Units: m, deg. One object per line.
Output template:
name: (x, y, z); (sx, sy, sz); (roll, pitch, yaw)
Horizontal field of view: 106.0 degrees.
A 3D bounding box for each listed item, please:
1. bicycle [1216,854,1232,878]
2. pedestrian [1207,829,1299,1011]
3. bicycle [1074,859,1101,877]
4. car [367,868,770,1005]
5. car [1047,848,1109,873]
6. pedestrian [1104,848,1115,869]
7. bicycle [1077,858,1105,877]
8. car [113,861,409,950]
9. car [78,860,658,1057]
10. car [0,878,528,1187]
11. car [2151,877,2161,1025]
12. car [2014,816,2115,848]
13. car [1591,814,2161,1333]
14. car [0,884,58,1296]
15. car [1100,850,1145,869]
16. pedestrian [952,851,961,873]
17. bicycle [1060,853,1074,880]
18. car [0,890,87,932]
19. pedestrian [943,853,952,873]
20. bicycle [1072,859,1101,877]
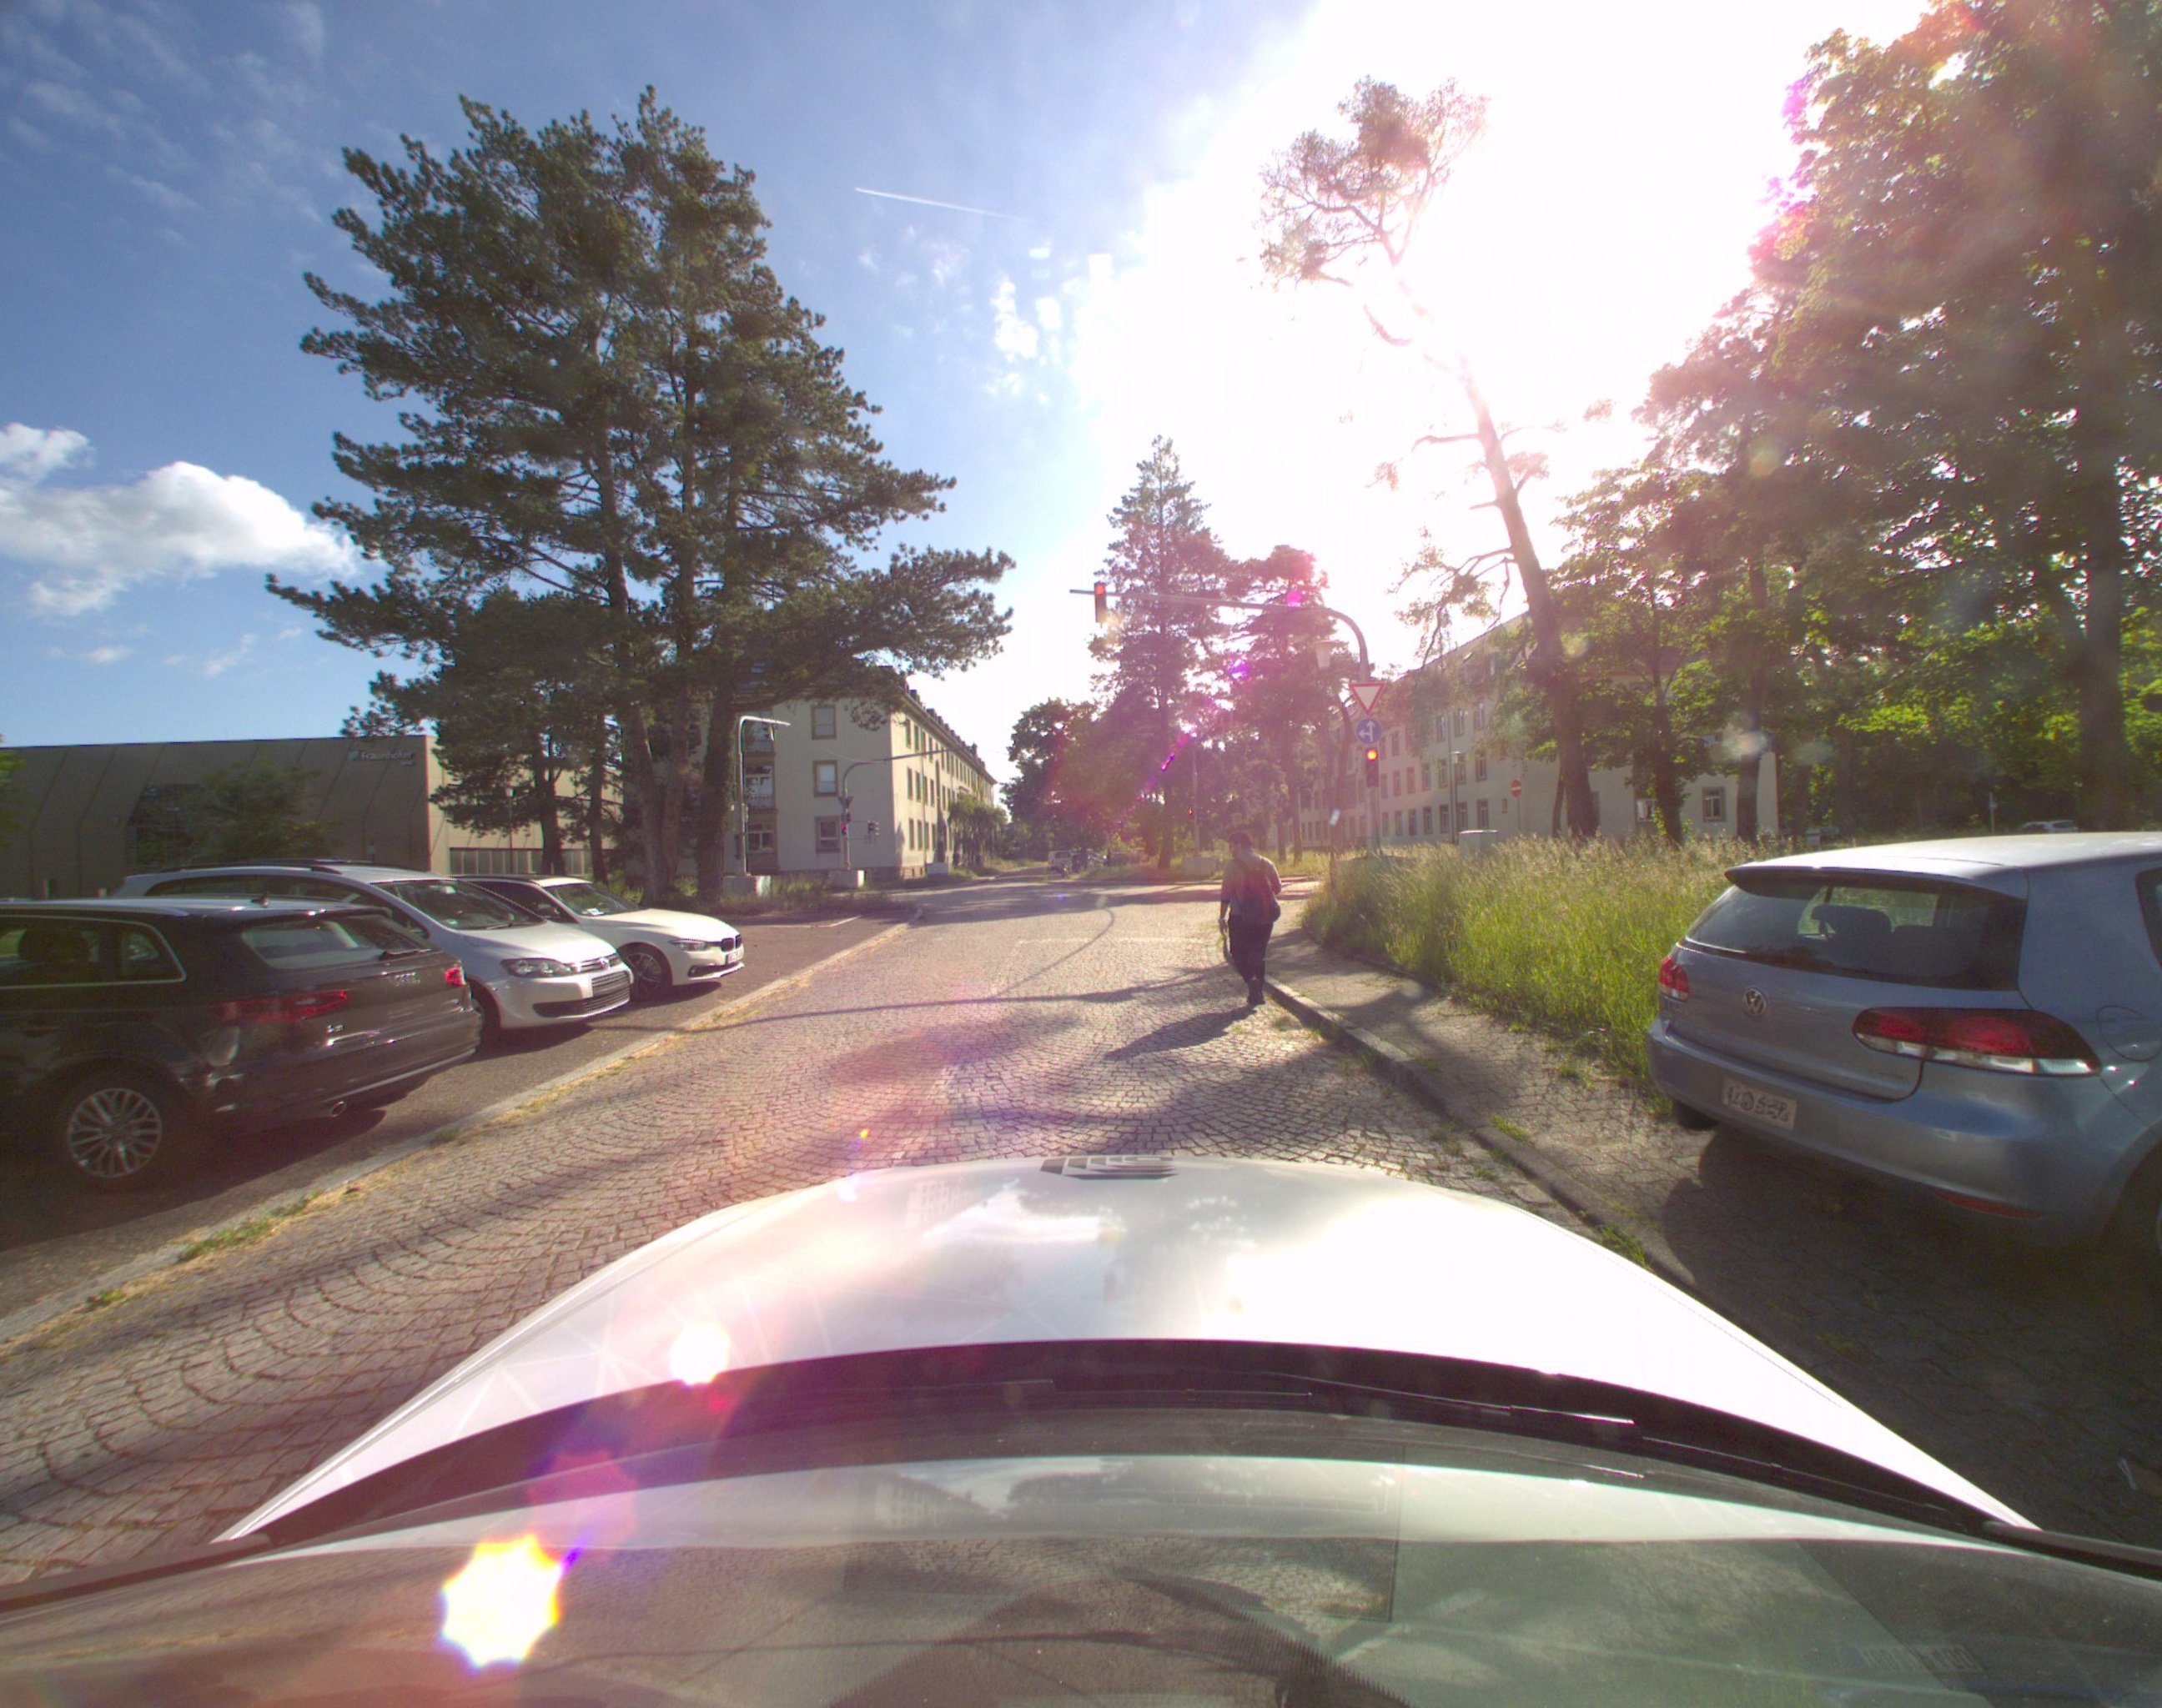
bicycle: (7.085, 0.576, 40.412); (0.717, 1.115, 2.590); (-2, 0, 9)
pedestrian: (1.699, 0.625, 8.154); (0.750, 1.725, 0.828); (0, 0, 0)
bicycle: (0.412, 0.902, 52.694); (1.724, 1.112, 0.483); (-2, 0, -5)
car: (-6.262, 0.954, 10.259); (3.970, 1.496, 1.774); (0, 0, 3)
car: (-0.274, 0.546, 70.011); (5.068, 1.918, 1.993); (-2, 0, -11)
pedestrian: (2.433, 0.378, 68.513); (0.759, 1.783, 0.682); (-2, 0, -9)
bicycle: (0.638, 0.858, 53.381); (1.724, 1.164, 0.560); (-2, 0, -5)
car: (-17.184, 1.033, 17.251); (4.131, 1.608, 2.009); (-2, 0, 0)
car: (-6.363, 0.878, 7.641); (3.870, 1.615, 1.659); (0, 0, -2)
car: (-5.906, 0.922, 4.882); (3.927, 1.445, 1.689); (1, 0, -2)
car: (4.471, 0.601, 0.802); (4.610, 1.455, 1.868); (-4, 0, -4)
car: (56.536, -1.260, 46.872); (3.622, 1.671, 1.767); (-2, 0, 1)
car: (4.441, 0.587, 3.308); (3.663, 1.443, 1.664); (-4, 0, -1)
car: (-5.821, 0.870, 2.223); (3.678, 1.527, 1.697); (0, 0, -4)
car: (3.739, 0.531, 73.981); (3.742, 1.580, 1.736); (-2, 0, -8)
pedestrian: (-10.062, 0.613, 65.856); (0.608, 1.752, 0.627); (-2, 0, -17)
bicycle: (-0.846, 0.721, 48.917); (0.751, 1.580, 2.535); (-2, 0, -1)
car: (-49.127, 2.647, 37.411); (1.858, 1.778, 4.004); (-2, 0, 2)
pedestrian: (-10.770, 0.744, 65.705); (0.606, 1.560, 0.544); (-2, 0, -8)
bicycle: (0.351, 0.903, 52.148); (1.831, 1.112, 0.494); (-2, 0, -5)
